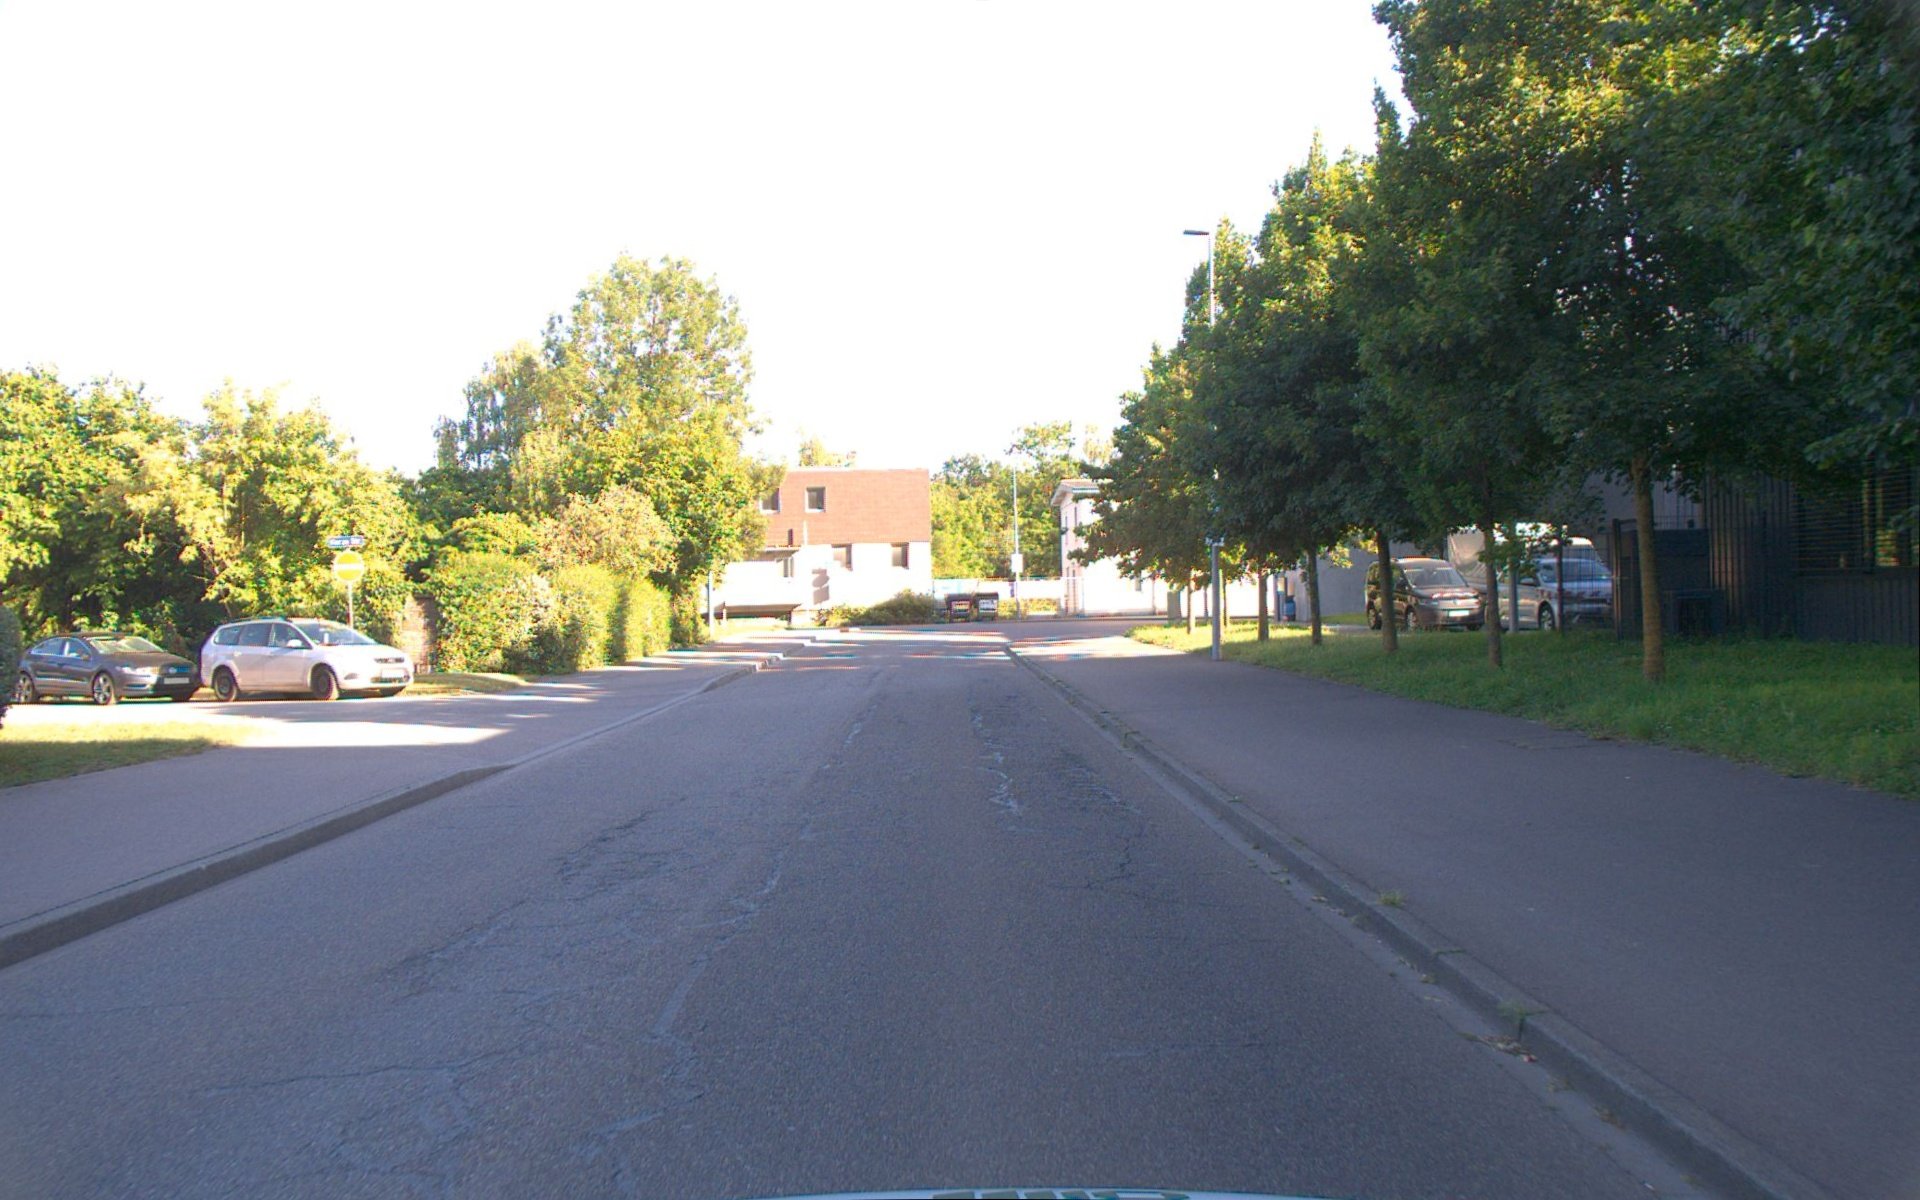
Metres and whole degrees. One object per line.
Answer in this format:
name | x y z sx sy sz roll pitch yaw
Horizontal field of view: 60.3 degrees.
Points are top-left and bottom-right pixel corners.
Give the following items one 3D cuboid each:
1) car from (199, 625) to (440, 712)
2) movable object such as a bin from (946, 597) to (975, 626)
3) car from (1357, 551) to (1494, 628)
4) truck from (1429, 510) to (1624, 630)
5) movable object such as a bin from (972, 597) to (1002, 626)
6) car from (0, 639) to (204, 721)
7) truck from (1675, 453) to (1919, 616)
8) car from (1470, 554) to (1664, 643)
car | -11.924 1.227 30.791 4.127 1.516 1.875 0 -1 26
movable object such as a bin | 0.027 0.567 82.651 1.339 1.443 1.064 0 -1 -8
car | 11.801 -0.229 42.244 1.799 1.846 4.660 0 -1 -6
truck | 14.728 -0.738 43.580 2.313 2.887 6.742 0 0 -5
movable object such as a bin | 1.355 0.575 83.014 1.339 1.443 1.064 0 -1 -8
car | -17.050 1.583 32.620 4.109 1.461 1.642 -3 -2 26
truck | 15.901 -1.069 30.918 2.235 2.724 6.399 0 -1 -1
car | 10.946 0.002 30.160 1.798 1.492 4.276 0 -1 -3
